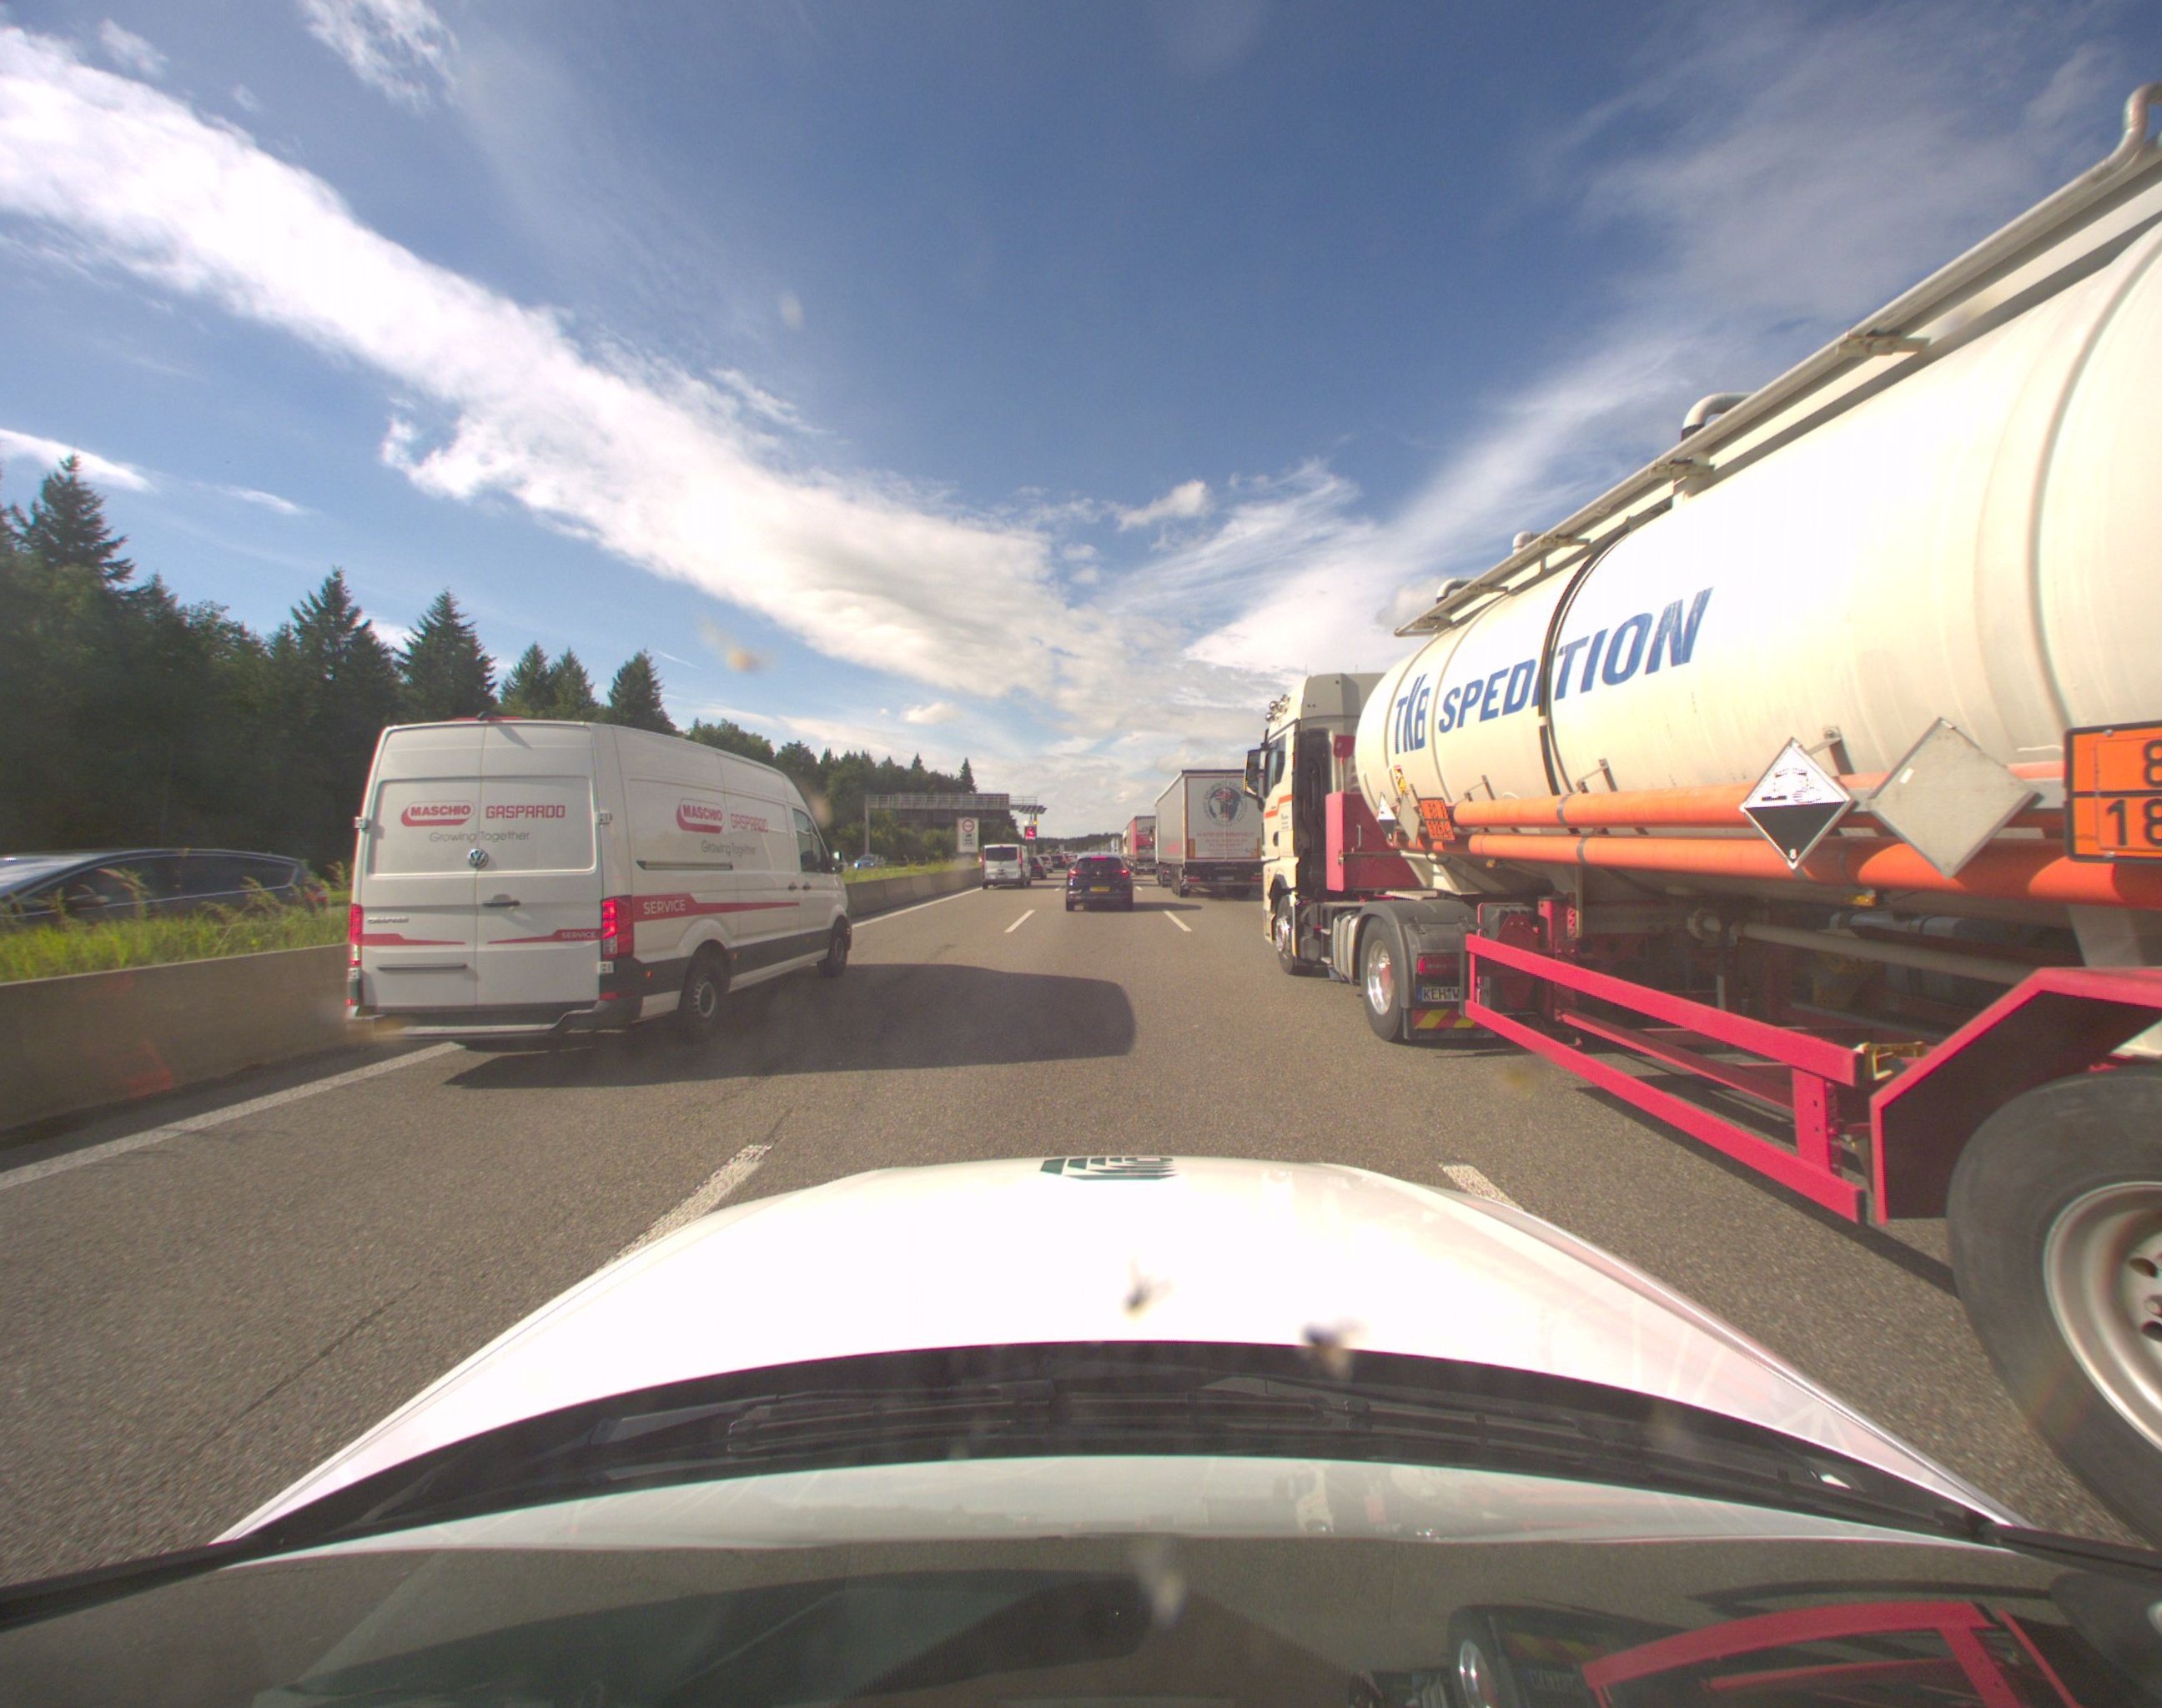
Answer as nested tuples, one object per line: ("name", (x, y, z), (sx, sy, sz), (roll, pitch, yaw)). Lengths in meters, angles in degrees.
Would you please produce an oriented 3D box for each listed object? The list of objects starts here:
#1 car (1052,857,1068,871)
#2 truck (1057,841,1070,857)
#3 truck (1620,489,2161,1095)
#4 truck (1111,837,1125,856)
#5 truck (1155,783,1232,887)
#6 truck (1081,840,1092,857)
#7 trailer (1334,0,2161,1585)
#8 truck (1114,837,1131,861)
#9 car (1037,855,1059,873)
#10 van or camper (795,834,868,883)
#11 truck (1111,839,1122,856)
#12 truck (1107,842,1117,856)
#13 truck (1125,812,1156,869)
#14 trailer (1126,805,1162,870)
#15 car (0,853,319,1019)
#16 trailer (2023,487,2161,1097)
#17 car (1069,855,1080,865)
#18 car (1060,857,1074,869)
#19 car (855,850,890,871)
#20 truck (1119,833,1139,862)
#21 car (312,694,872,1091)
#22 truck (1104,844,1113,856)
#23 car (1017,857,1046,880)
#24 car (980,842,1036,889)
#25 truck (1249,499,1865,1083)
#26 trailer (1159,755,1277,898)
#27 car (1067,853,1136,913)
("car", (-2.057, 0.964, 80.691), (1.430, 1.310, 3.534), (2, 0, 1))
("truck", (-4.018, -1.171, 188.132), (2.335, 3.594, 6.307), (2, 0, 1))
("truck", (7.692, -0.374, 6.386), (2.520, 3.573, 6.778), (-1, 0, 2))
("truck", (5.917, -1.180, 131.000), (1.986, 3.052, 4.983), (2, 0, 2))
("truck", (4.908, -0.759, 36.759), (2.775, 4.247, 6.463), (-1, 0, 2))
("truck", (1.248, -1.186, 181.720), (2.335, 3.594, 6.307), (2, 0, 1))
("trailer", (3.459, -0.352, 2.167), (2.532, 3.654, 10.630), (-1, 0, 2))
("truck", (5.375, -0.589, 104.839), (1.986, 2.932, 4.983), (2, 0, 2))
("car", (-2.736, 0.822, 67.861), (1.494, 1.396, 3.476), (2, 0, 1))
("van or camper", (-14.209, 0.224, 46.898), (1.940, 2.593, 7.153), (-1, 0, 1))
("truck", (6.703, -1.171, 153.218), (1.986, 3.052, 4.983), (2, 0, 2))
("truck", (6.708, -1.079, 177.411), (1.986, 3.052, 4.983), (2, 0, 2))
("truck", (4.625, -0.978, 64.280), (2.126, 4.282, 6.341), (0, 0, 2))
("trailer", (4.416, -1.049, 58.076), (2.141, 4.259, 8.443), (0, 0, 2))
("car", (-11.381, 0.806, 9.217), (1.821, 1.605, 3.811), (-1, 0, 2))
("trailer", (7.506, -0.403, 0.156), (2.532, 3.598, 10.630), (-1, 0, 2))
("car", (-0.847, 0.815, 110.221), (1.356, 1.301, 3.085), (2, 0, 1))
("car", (-1.589, 1.041, 95.436), (1.430, 1.310, 3.534), (2, 0, 1))
("car", (-17.666, 0.549, 69.115), (1.782, 1.715, 3.646), (2, 0, 2))
("truck", (5.192, -0.660, 88.316), (1.986, 2.932, 4.983), (2, 0, 2))
("car", (-4.038, 0.243, 8.499), (2.008, 2.599, 6.182), (-1, 0, 1))
("truck", (6.793, -0.977, 203.171), (1.986, 3.052, 4.983), (2, 0, 2))
("car", (-2.999, 0.861, 49.891), (1.494, 1.396, 3.476), (0, 0, 1))
("car", (-3.320, 0.519, 37.851), (1.926, 1.979, 5.100), (2, 0, 1))
("truck", (3.625, -0.380, 8.400), (2.524, 3.584, 6.731), (-1, 0, 1))
("trailer", (4.623, -0.795, 29.939), (2.792, 4.244, 11.062), (-1, 0, 2))
("car", (0.651, 0.728, 22.880), (1.689, 1.483, 4.166), (0, 1, 5))
